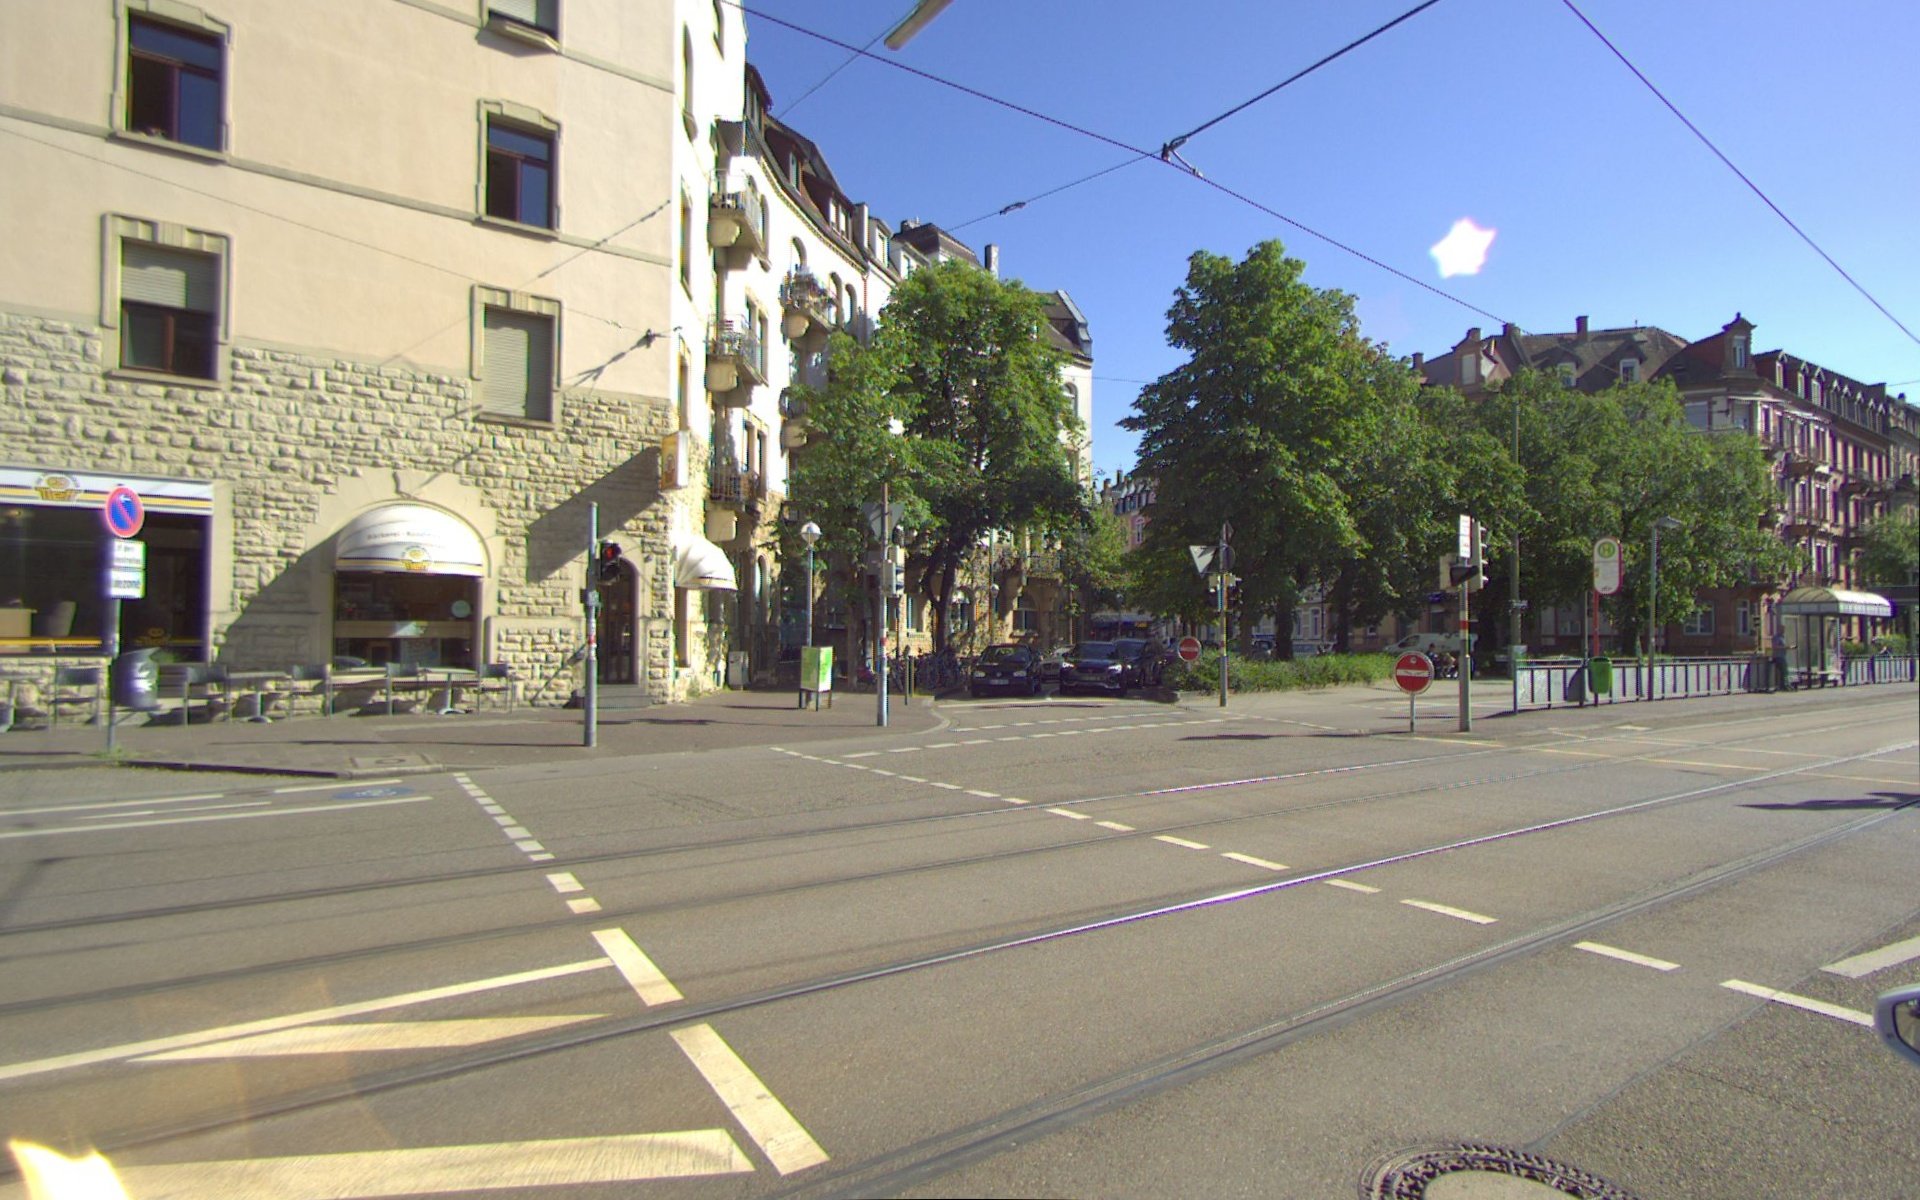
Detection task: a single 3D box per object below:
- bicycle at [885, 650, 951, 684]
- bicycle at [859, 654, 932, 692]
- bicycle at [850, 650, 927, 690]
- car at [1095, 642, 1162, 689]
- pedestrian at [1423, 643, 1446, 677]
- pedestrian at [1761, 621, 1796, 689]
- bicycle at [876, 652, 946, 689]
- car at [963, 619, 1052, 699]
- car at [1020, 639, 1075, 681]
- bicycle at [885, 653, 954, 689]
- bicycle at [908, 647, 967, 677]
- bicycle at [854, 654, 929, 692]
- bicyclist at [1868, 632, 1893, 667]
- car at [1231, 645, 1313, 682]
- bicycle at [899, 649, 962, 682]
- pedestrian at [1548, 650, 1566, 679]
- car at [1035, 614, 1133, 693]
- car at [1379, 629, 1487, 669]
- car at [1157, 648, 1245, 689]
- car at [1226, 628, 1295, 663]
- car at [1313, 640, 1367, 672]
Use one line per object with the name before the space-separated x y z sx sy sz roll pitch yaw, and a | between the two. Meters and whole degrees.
bicycle | -1.314 2.097 31.473 1.997 0.993 0.611 1 -1 4
bicycle | -1.854 2.088 28.861 1.997 0.993 0.611 1 -1 4
bicycle | -1.939 1.902 27.333 1.997 0.993 0.611 1 -1 4
car | 5.887 2.223 34.819 1.719 1.450 4.001 -1 -2 18
pedestrian | 16.842 2.126 35.676 0.598 1.217 0.577 -2 -3 38
pedestrian | 22.484 1.502 27.594 0.574 1.818 0.602 1 -2 -37
bicycle | -1.433 2.073 29.635 1.997 0.993 0.611 1 -1 4
car | 1.240 1.582 28.122 1.962 2.040 3.998 2 -1 -5
car | 3.349 2.215 37.915 1.718 1.450 4.003 -1 -2 10
bicycle | -1.227 2.155 30.474 1.997 0.993 0.611 1 -1 4
bicycle | -0.771 2.150 34.885 1.997 0.993 0.611 1 -1 4
bicycle | -1.908 2.032 28.078 1.997 0.993 0.611 1 -1 4
bicyclist | 44.791 2.405 48.888 0.726 1.687 0.710 2 -1 -31
car | 13.671 2.745 43.970 3.973 1.450 1.731 1 -2 -44
bicycle | -0.952 2.145 32.885 1.997 0.993 0.611 1 -1 4
pedestrian | 25.474 2.742 42.861 0.598 1.217 0.577 -2 -3 38
car | 3.454 1.480 28.682 1.962 2.040 3.998 2 -1 -5
car | 25.755 2.642 54.849 1.987 2.040 4.964 3 -2 -43
car | 9.618 2.671 39.965 1.729 1.450 3.978 -2 -2 42
car | 18.755 2.829 62.926 1.967 2.040 4.574 2 -2 -16
car | 19.272 2.806 50.830 1.724 1.450 3.989 -2 -2 33
